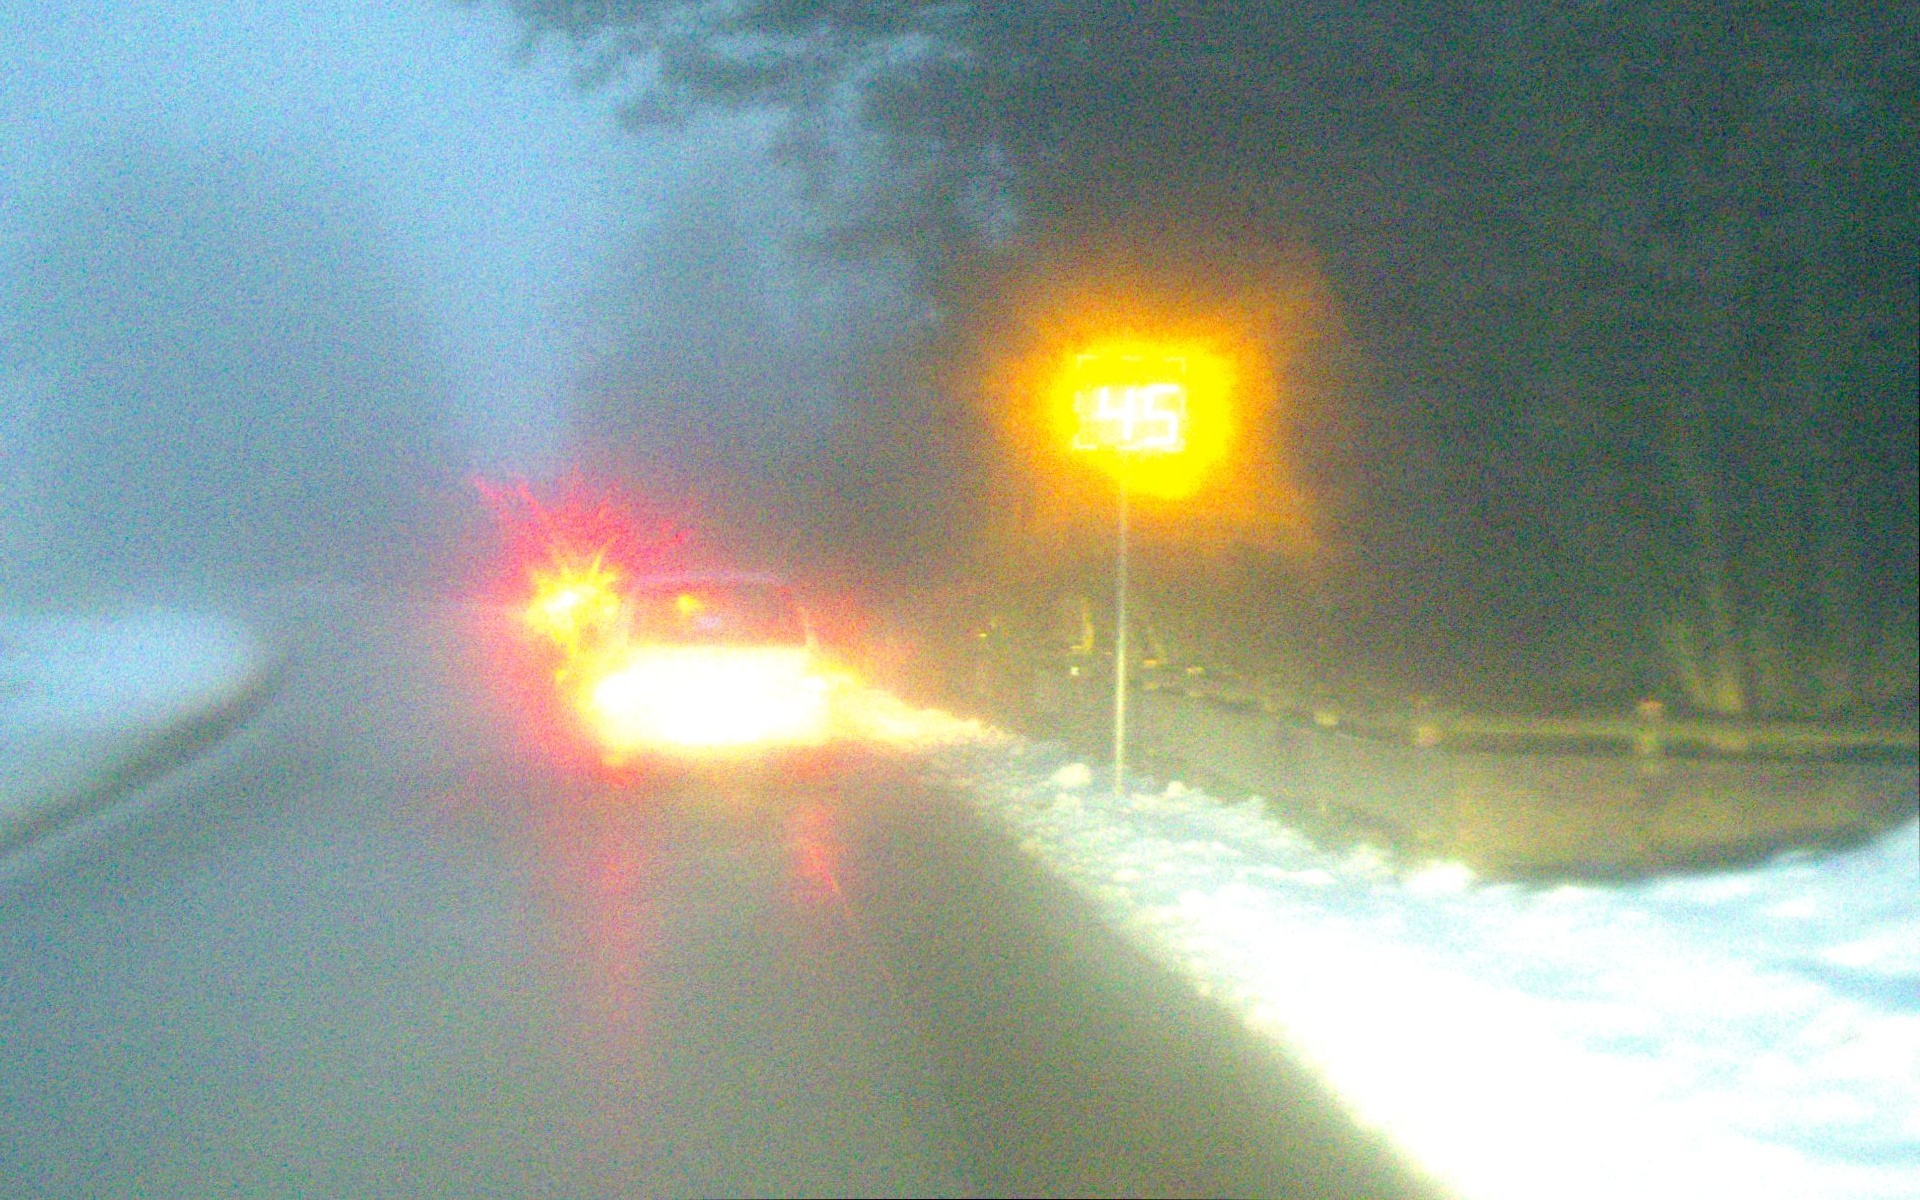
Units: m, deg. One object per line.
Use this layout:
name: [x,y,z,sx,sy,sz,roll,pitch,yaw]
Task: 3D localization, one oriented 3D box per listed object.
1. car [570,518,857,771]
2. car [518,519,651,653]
car: [-1.776,0.320,24.300,1.706,1.458,4.000,7,-2,-5]
car: [-4.362,-0.171,40.221,1.478,1.503,3.053,0,1,-5]
